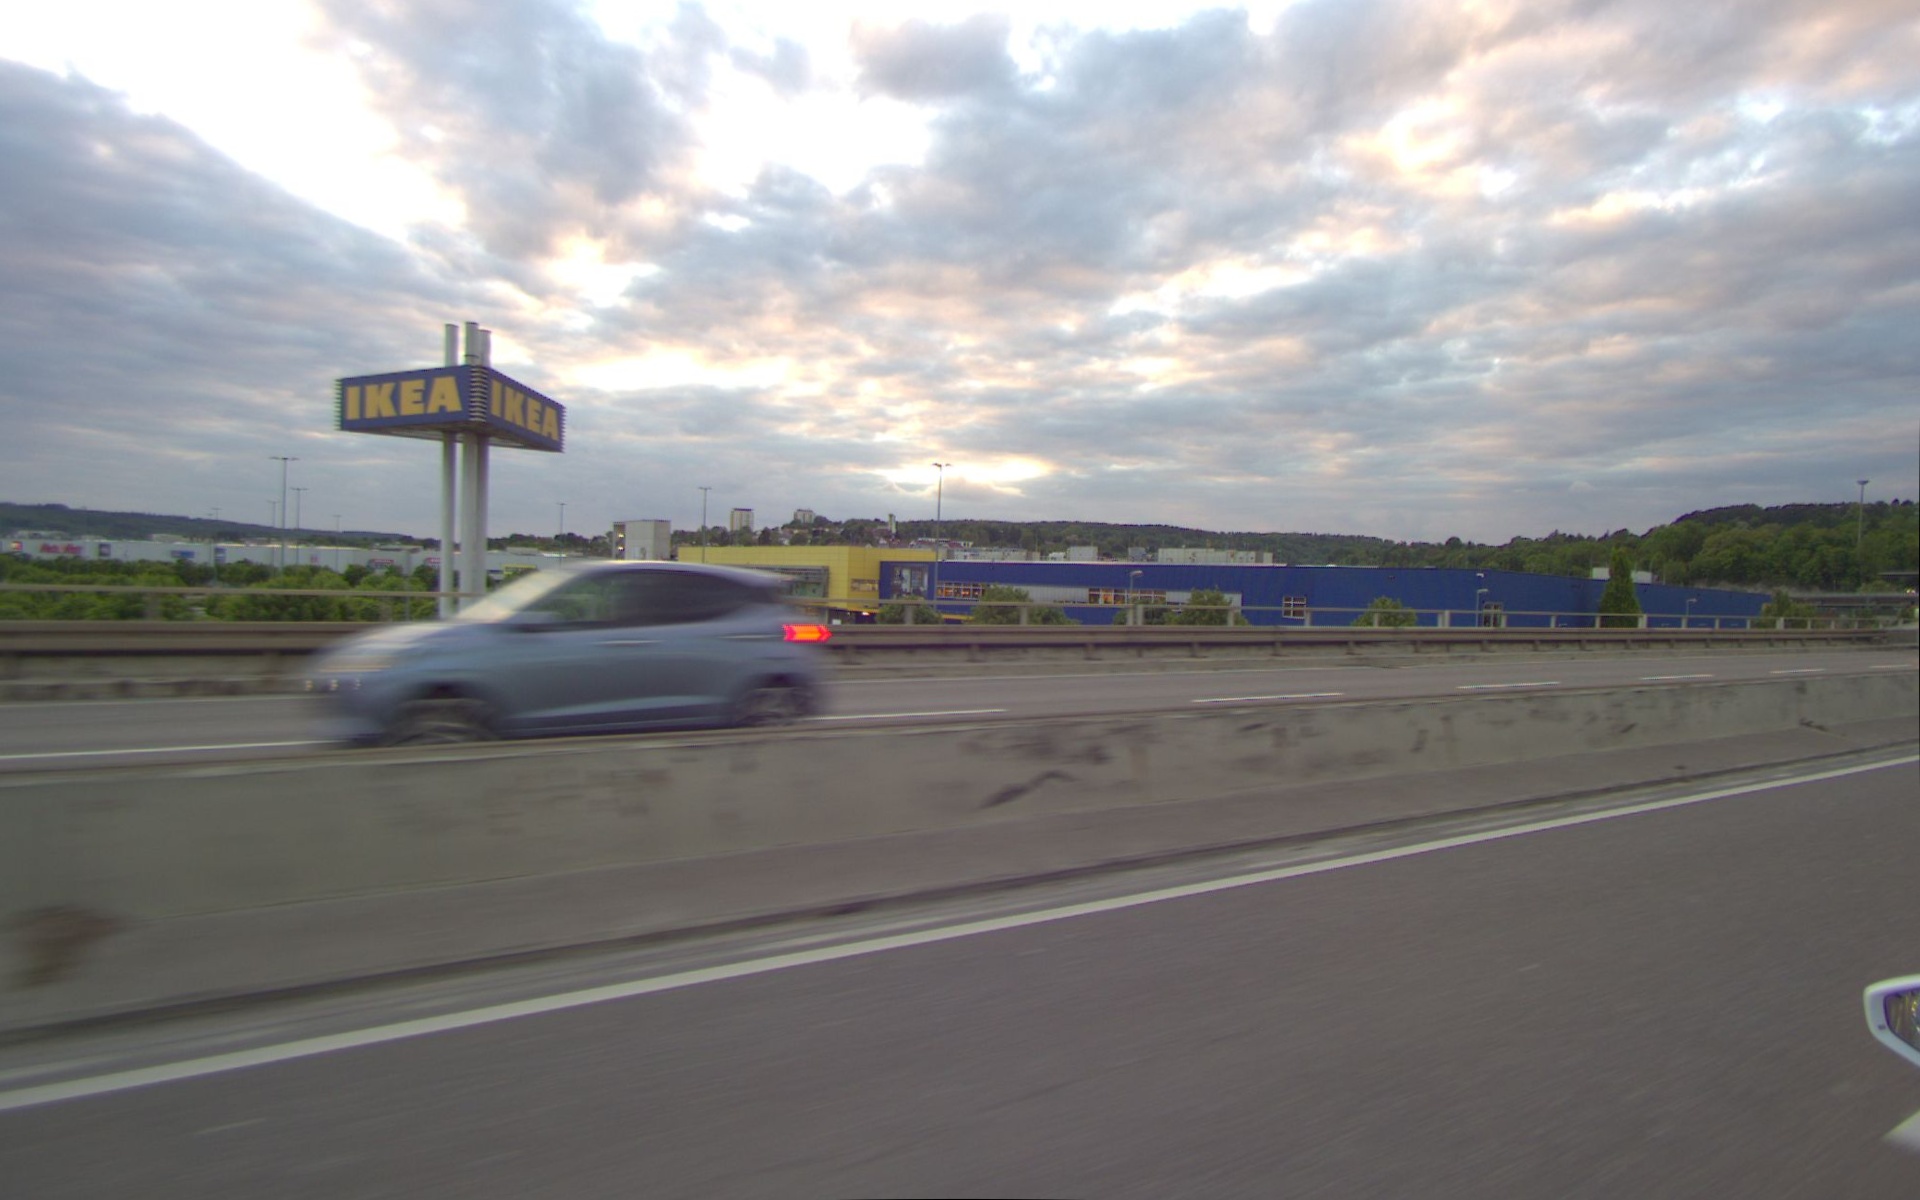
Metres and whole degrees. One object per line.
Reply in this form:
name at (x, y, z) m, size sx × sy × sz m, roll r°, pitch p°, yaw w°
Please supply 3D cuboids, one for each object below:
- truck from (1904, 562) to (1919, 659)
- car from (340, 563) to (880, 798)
truck at (36.818, 0.472, 35.963) m, size 7.362 × 3.341 × 2.521 m, roll 2°, pitch 0°, yaw -31°
car at (-2.685, 0.505, 7.981) m, size 3.794 × 1.460 × 1.619 m, roll 0°, pitch 1°, yaw -33°
